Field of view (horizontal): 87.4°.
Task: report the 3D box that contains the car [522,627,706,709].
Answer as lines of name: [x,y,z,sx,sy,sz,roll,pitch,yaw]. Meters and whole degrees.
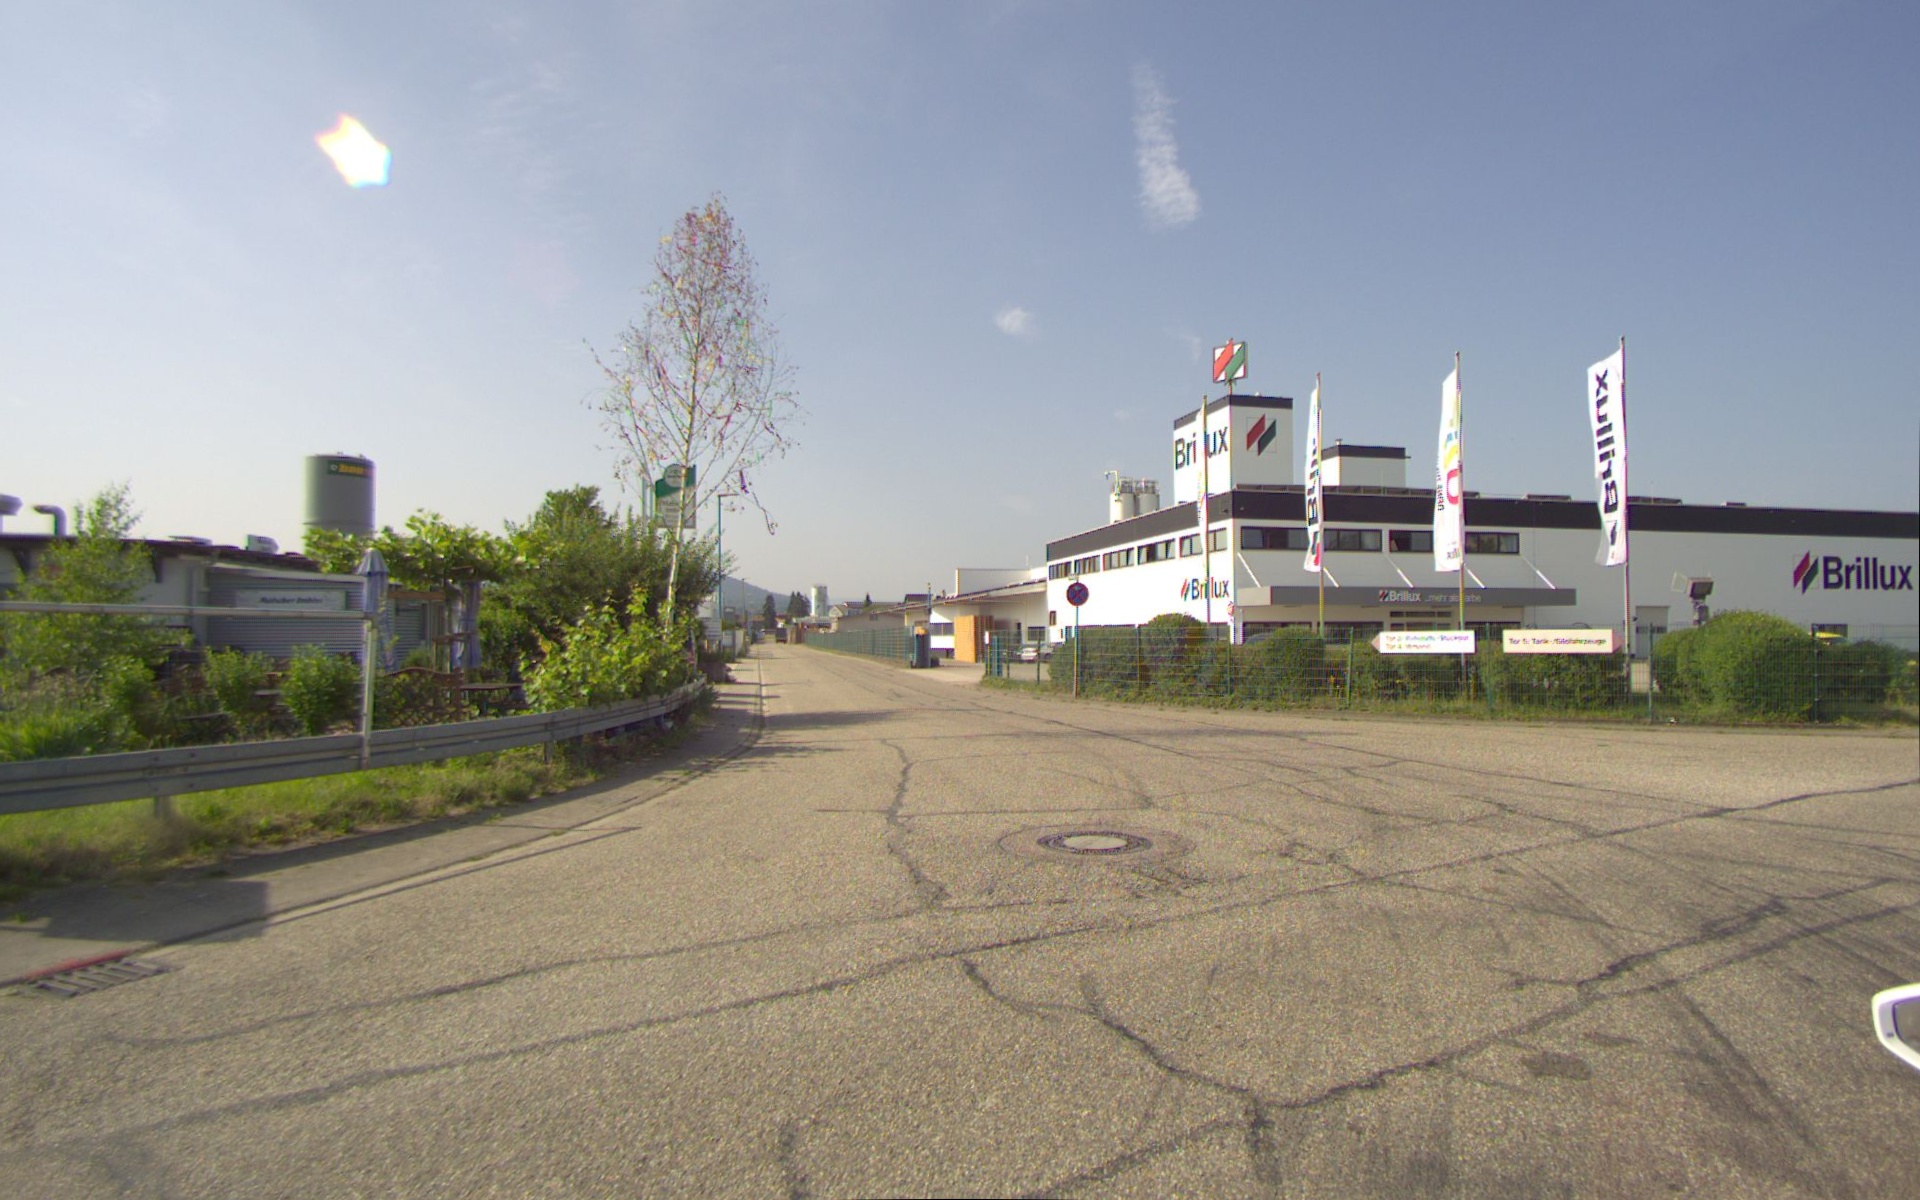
car: [-8.058,1.551,23.698,3.936,1.795,1.993,0,-2,-18]

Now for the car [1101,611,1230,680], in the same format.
car: [5.668,1.264,28.392,2.112,1.775,4.659,0,-2,-8]

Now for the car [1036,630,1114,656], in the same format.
car: [7.725,2.861,67.130,5.003,1.724,1.984,1,-3,-31]

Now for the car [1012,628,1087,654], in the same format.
car: [6.191,2.848,69.428,5.003,1.724,1.984,1,-3,-31]

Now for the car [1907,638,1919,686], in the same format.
car: [31.516,1.794,29.734,2.054,1.463,4.665,1,-4,-30]

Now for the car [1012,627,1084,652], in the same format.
car: [6.462,2.885,73.426,5.003,1.724,1.984,1,-3,-31]

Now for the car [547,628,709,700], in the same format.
car: [-8.762,1.664,26.714,3.936,1.795,1.993,0,-2,-18]

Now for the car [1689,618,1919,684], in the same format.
car: [19.673,1.148,23.241,1.845,1.386,4.147,1,-2,-29]
